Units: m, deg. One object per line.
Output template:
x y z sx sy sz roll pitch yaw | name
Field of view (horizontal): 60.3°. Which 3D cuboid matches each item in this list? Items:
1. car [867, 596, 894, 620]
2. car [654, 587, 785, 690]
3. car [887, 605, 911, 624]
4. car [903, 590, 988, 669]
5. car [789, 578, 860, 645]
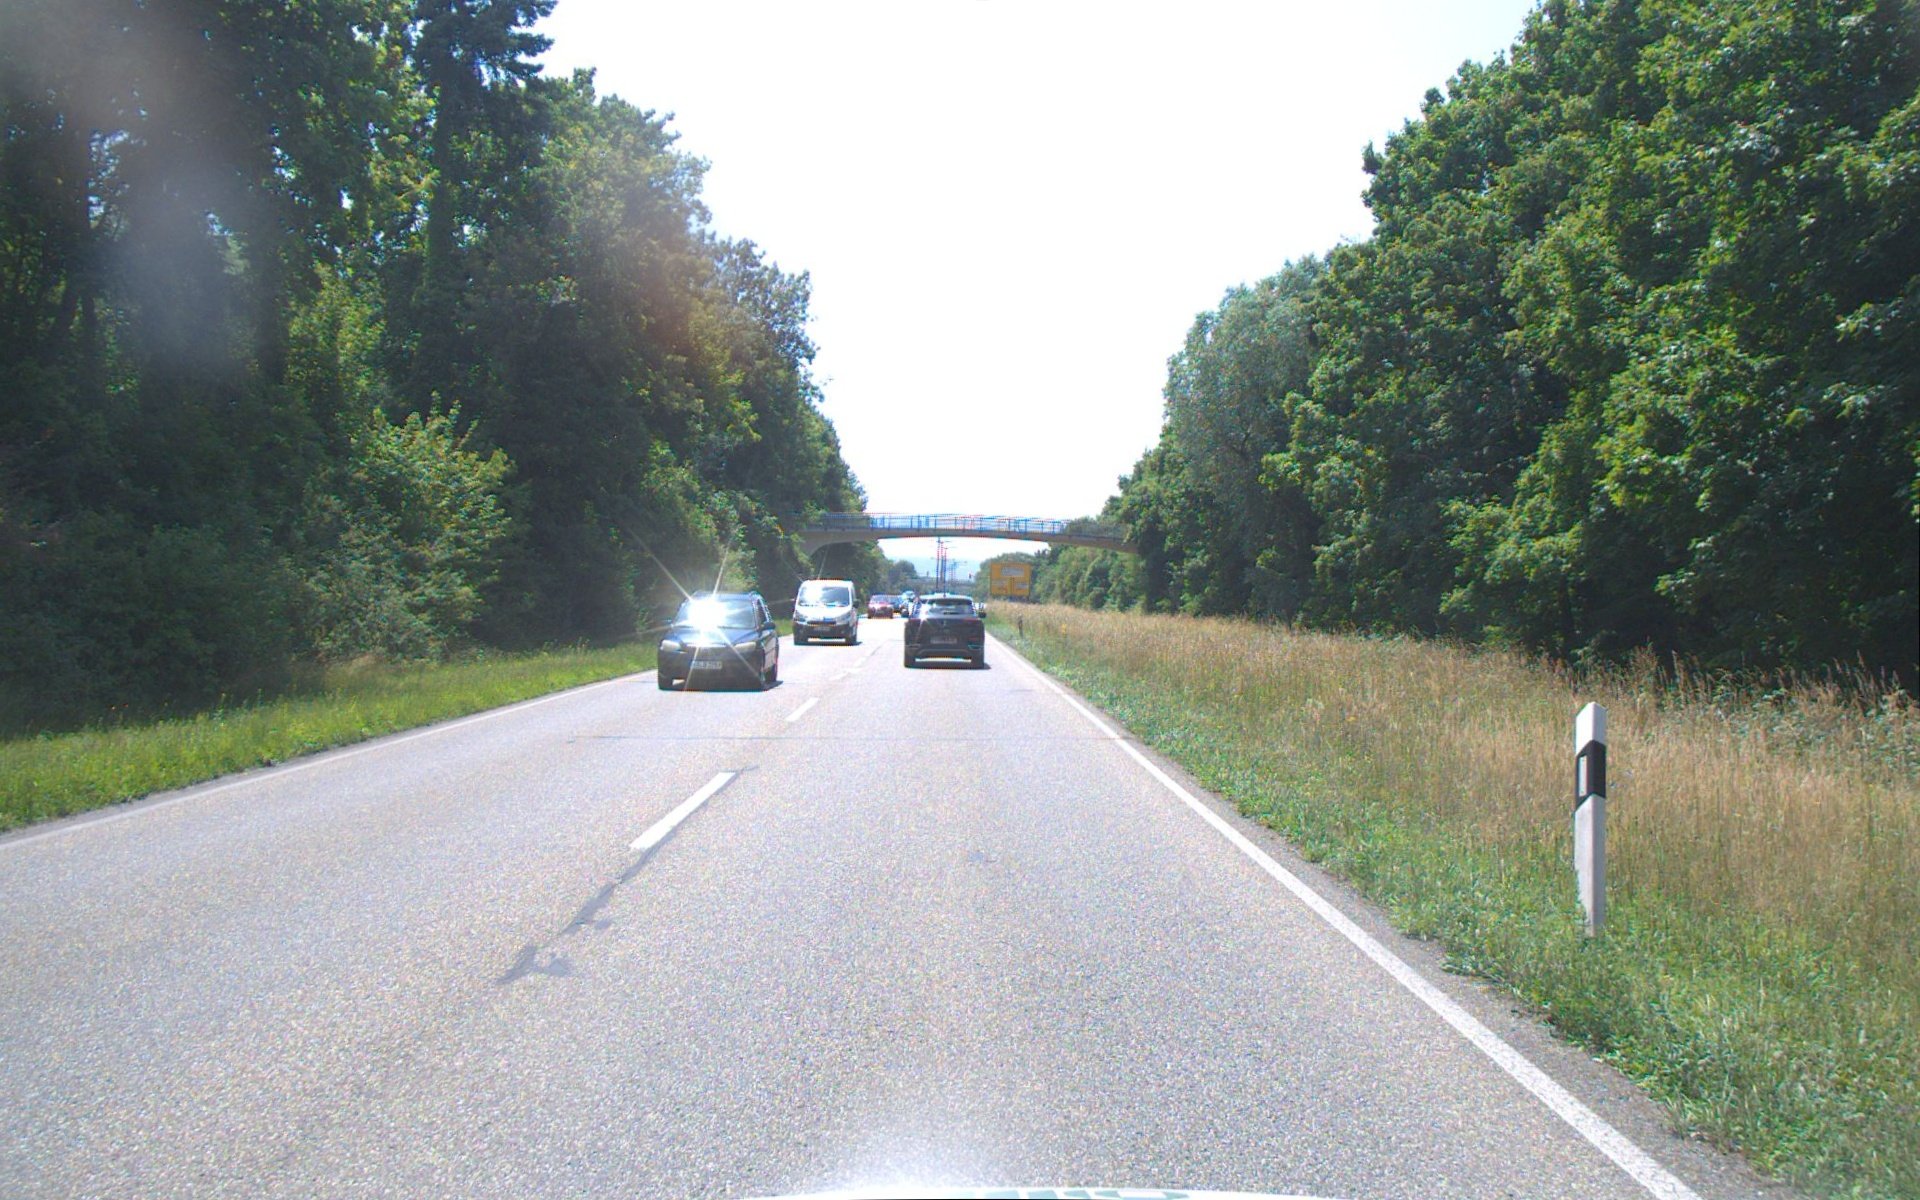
-5.180 0.530 107.937 1.648 1.519 3.999 0 0 -1 | car
-3.894 0.594 27.354 1.638 1.545 3.999 1 0 -1 | car
-4.914 1.133 134.207 1.747 1.475 4.109 0 0 1 | car
-0.371 0.631 36.560 1.720 1.583 3.998 2 0 -2 | car
-4.153 0.349 51.309 1.837 1.963 4.986 1 0 -1 | car
